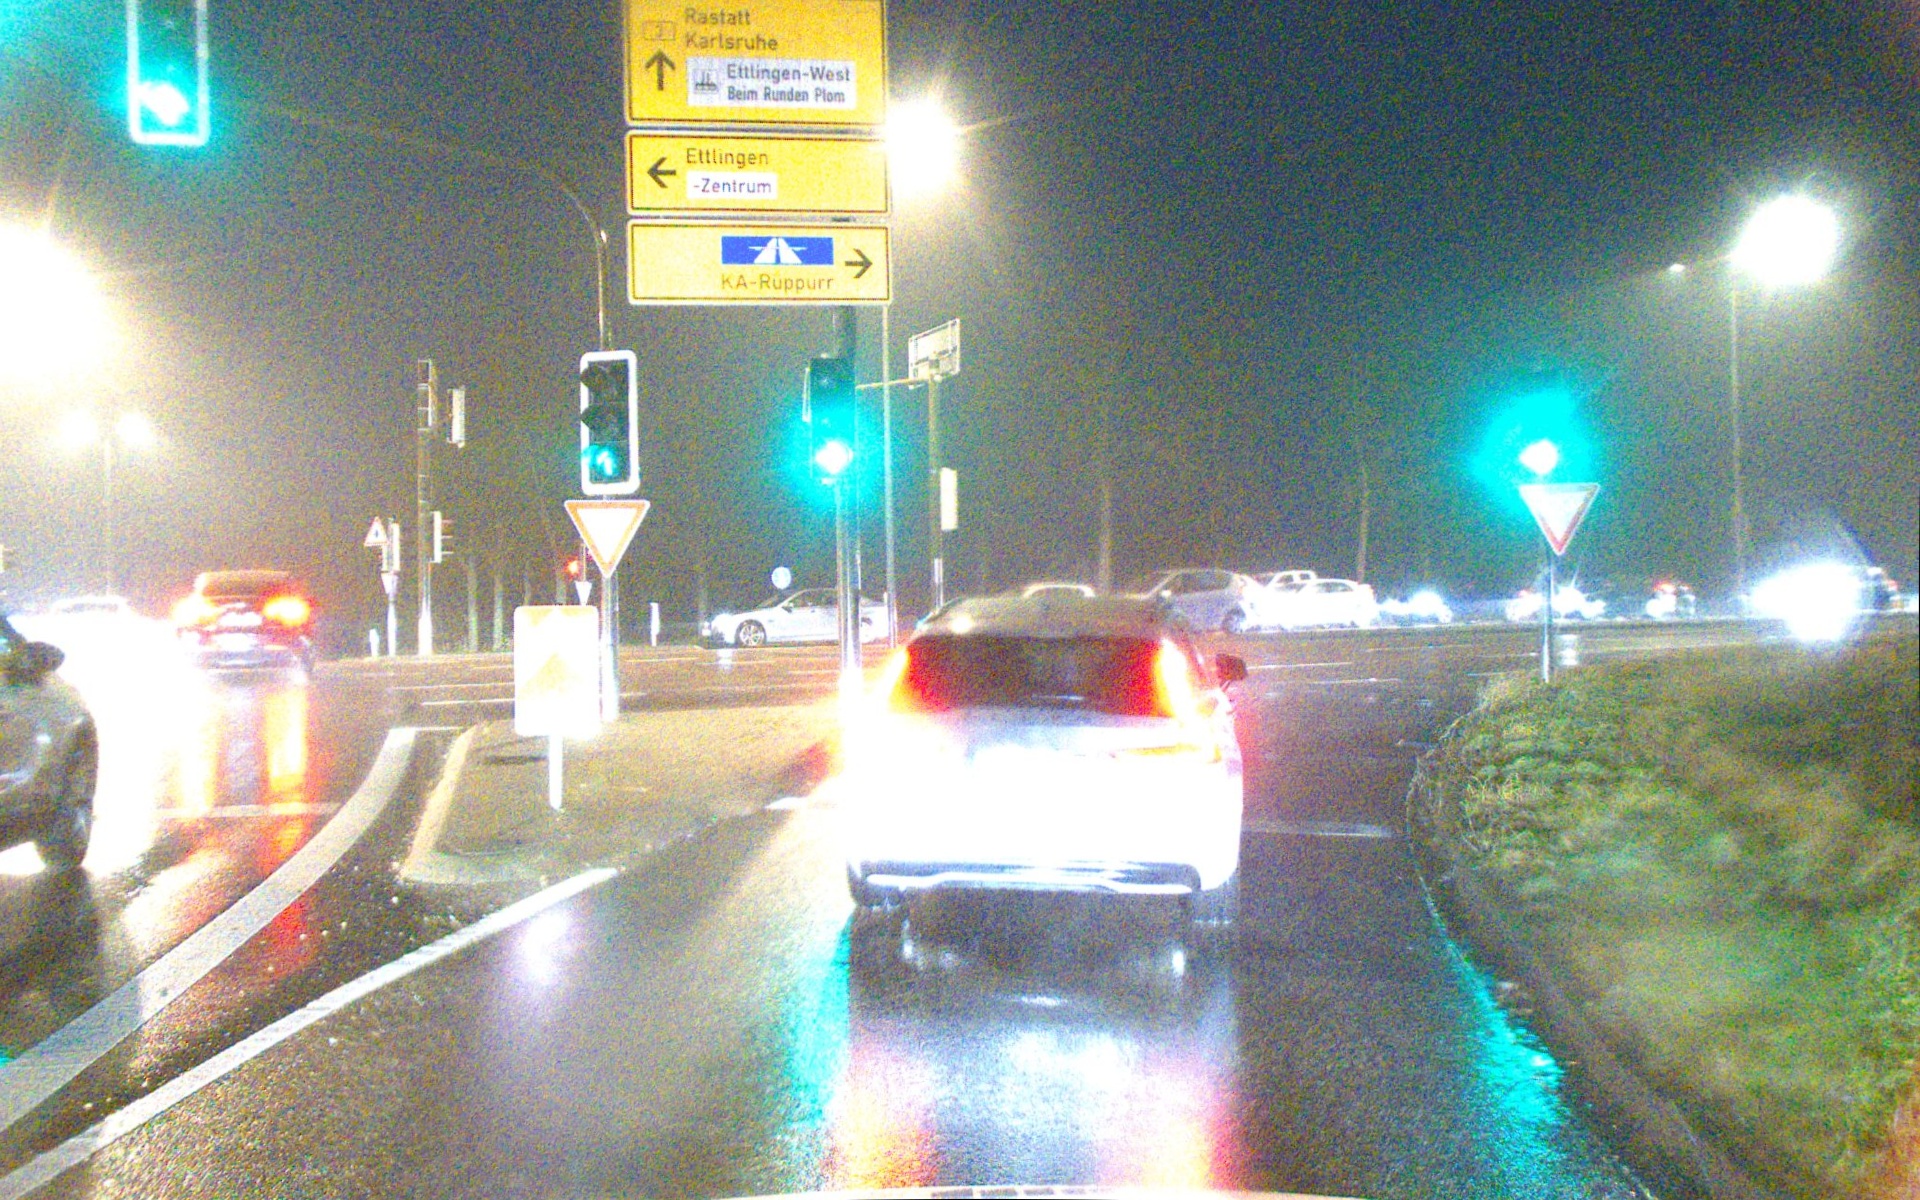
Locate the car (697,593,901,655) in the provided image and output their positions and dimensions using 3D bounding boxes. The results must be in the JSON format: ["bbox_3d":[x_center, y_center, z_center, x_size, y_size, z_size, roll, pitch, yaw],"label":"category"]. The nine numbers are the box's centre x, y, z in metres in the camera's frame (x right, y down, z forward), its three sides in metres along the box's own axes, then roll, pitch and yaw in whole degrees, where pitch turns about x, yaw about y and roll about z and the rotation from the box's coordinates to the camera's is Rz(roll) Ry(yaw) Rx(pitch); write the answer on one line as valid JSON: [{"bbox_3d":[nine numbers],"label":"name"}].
[{"bbox_3d":[-3.939,0.592,40.664,4.730,1.452,1.750,1,-1,-27],"label":"car"}]

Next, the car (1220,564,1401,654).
[{"bbox_3d":[11.189,0.303,52.714,5.524,2.757,2.237,1,-1,-27],"label":"car"}]

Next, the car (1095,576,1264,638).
[{"bbox_3d":[5.561,0.199,41.885,3.991,1.513,1.705,1,-1,-24],"label":"car"}]

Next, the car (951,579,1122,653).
[{"bbox_3d":[2.032,0.419,43.706,4.221,1.880,1.749,1,-1,-28],"label":"car"}]

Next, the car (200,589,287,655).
[{"bbox_3d":[-17.188,0.506,39.823,1.674,1.489,4.288,0,0,-20],"label":"car"}]

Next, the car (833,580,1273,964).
[{"bbox_3d":[0.678,0.649,8.721,1.758,1.477,4.272,0,1,9],"label":"car"}]

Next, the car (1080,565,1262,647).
[{"bbox_3d":[4.862,0.111,38.046,3.841,1.755,1.751,-1,1,-26],"label":"car"}]

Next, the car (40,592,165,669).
[{"bbox_3d":[-17.549,0.603,34.002,1.629,1.470,3.773,0,0,-17],"label":"car"}]

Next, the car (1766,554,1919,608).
[{"bbox_3d":[25.922,-0.561,48.567,4.344,1.510,1.767,-1,0,-26],"label":"car"}]

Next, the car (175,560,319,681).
[{"bbox_3d":[-11.011,0.260,25.380,1.805,1.682,4.442,1,0,-26],"label":"car"}]

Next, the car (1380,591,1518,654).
[{"bbox_3d":[15.082,0.680,50.993,4.064,1.880,1.749,1,-1,-28],"label":"car"}]

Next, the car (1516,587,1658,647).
[{"bbox_3d":[18.503,0.503,48.790,3.918,1.695,1.788,1,-1,-28],"label":"car"}]

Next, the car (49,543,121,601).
[{"bbox_3d":[-33.537,-1.046,63.499,1.748,2.115,3.979,1,0,-18],"label":"car"}]

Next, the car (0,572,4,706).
[{"bbox_3d":[-12.456,0.481,18.813,1.879,1.687,3.967,0,0,-17],"label":"car"}]

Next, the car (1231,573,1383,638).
[{"bbox_3d":[10.129,0.173,48.247,4.187,1.830,1.788,1,-1,-28],"label":"car"}]

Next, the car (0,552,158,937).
[{"bbox_3d":[-5.020,0.605,7.209,1.818,1.619,4.010,0,0,-12],"label":"car"}]
